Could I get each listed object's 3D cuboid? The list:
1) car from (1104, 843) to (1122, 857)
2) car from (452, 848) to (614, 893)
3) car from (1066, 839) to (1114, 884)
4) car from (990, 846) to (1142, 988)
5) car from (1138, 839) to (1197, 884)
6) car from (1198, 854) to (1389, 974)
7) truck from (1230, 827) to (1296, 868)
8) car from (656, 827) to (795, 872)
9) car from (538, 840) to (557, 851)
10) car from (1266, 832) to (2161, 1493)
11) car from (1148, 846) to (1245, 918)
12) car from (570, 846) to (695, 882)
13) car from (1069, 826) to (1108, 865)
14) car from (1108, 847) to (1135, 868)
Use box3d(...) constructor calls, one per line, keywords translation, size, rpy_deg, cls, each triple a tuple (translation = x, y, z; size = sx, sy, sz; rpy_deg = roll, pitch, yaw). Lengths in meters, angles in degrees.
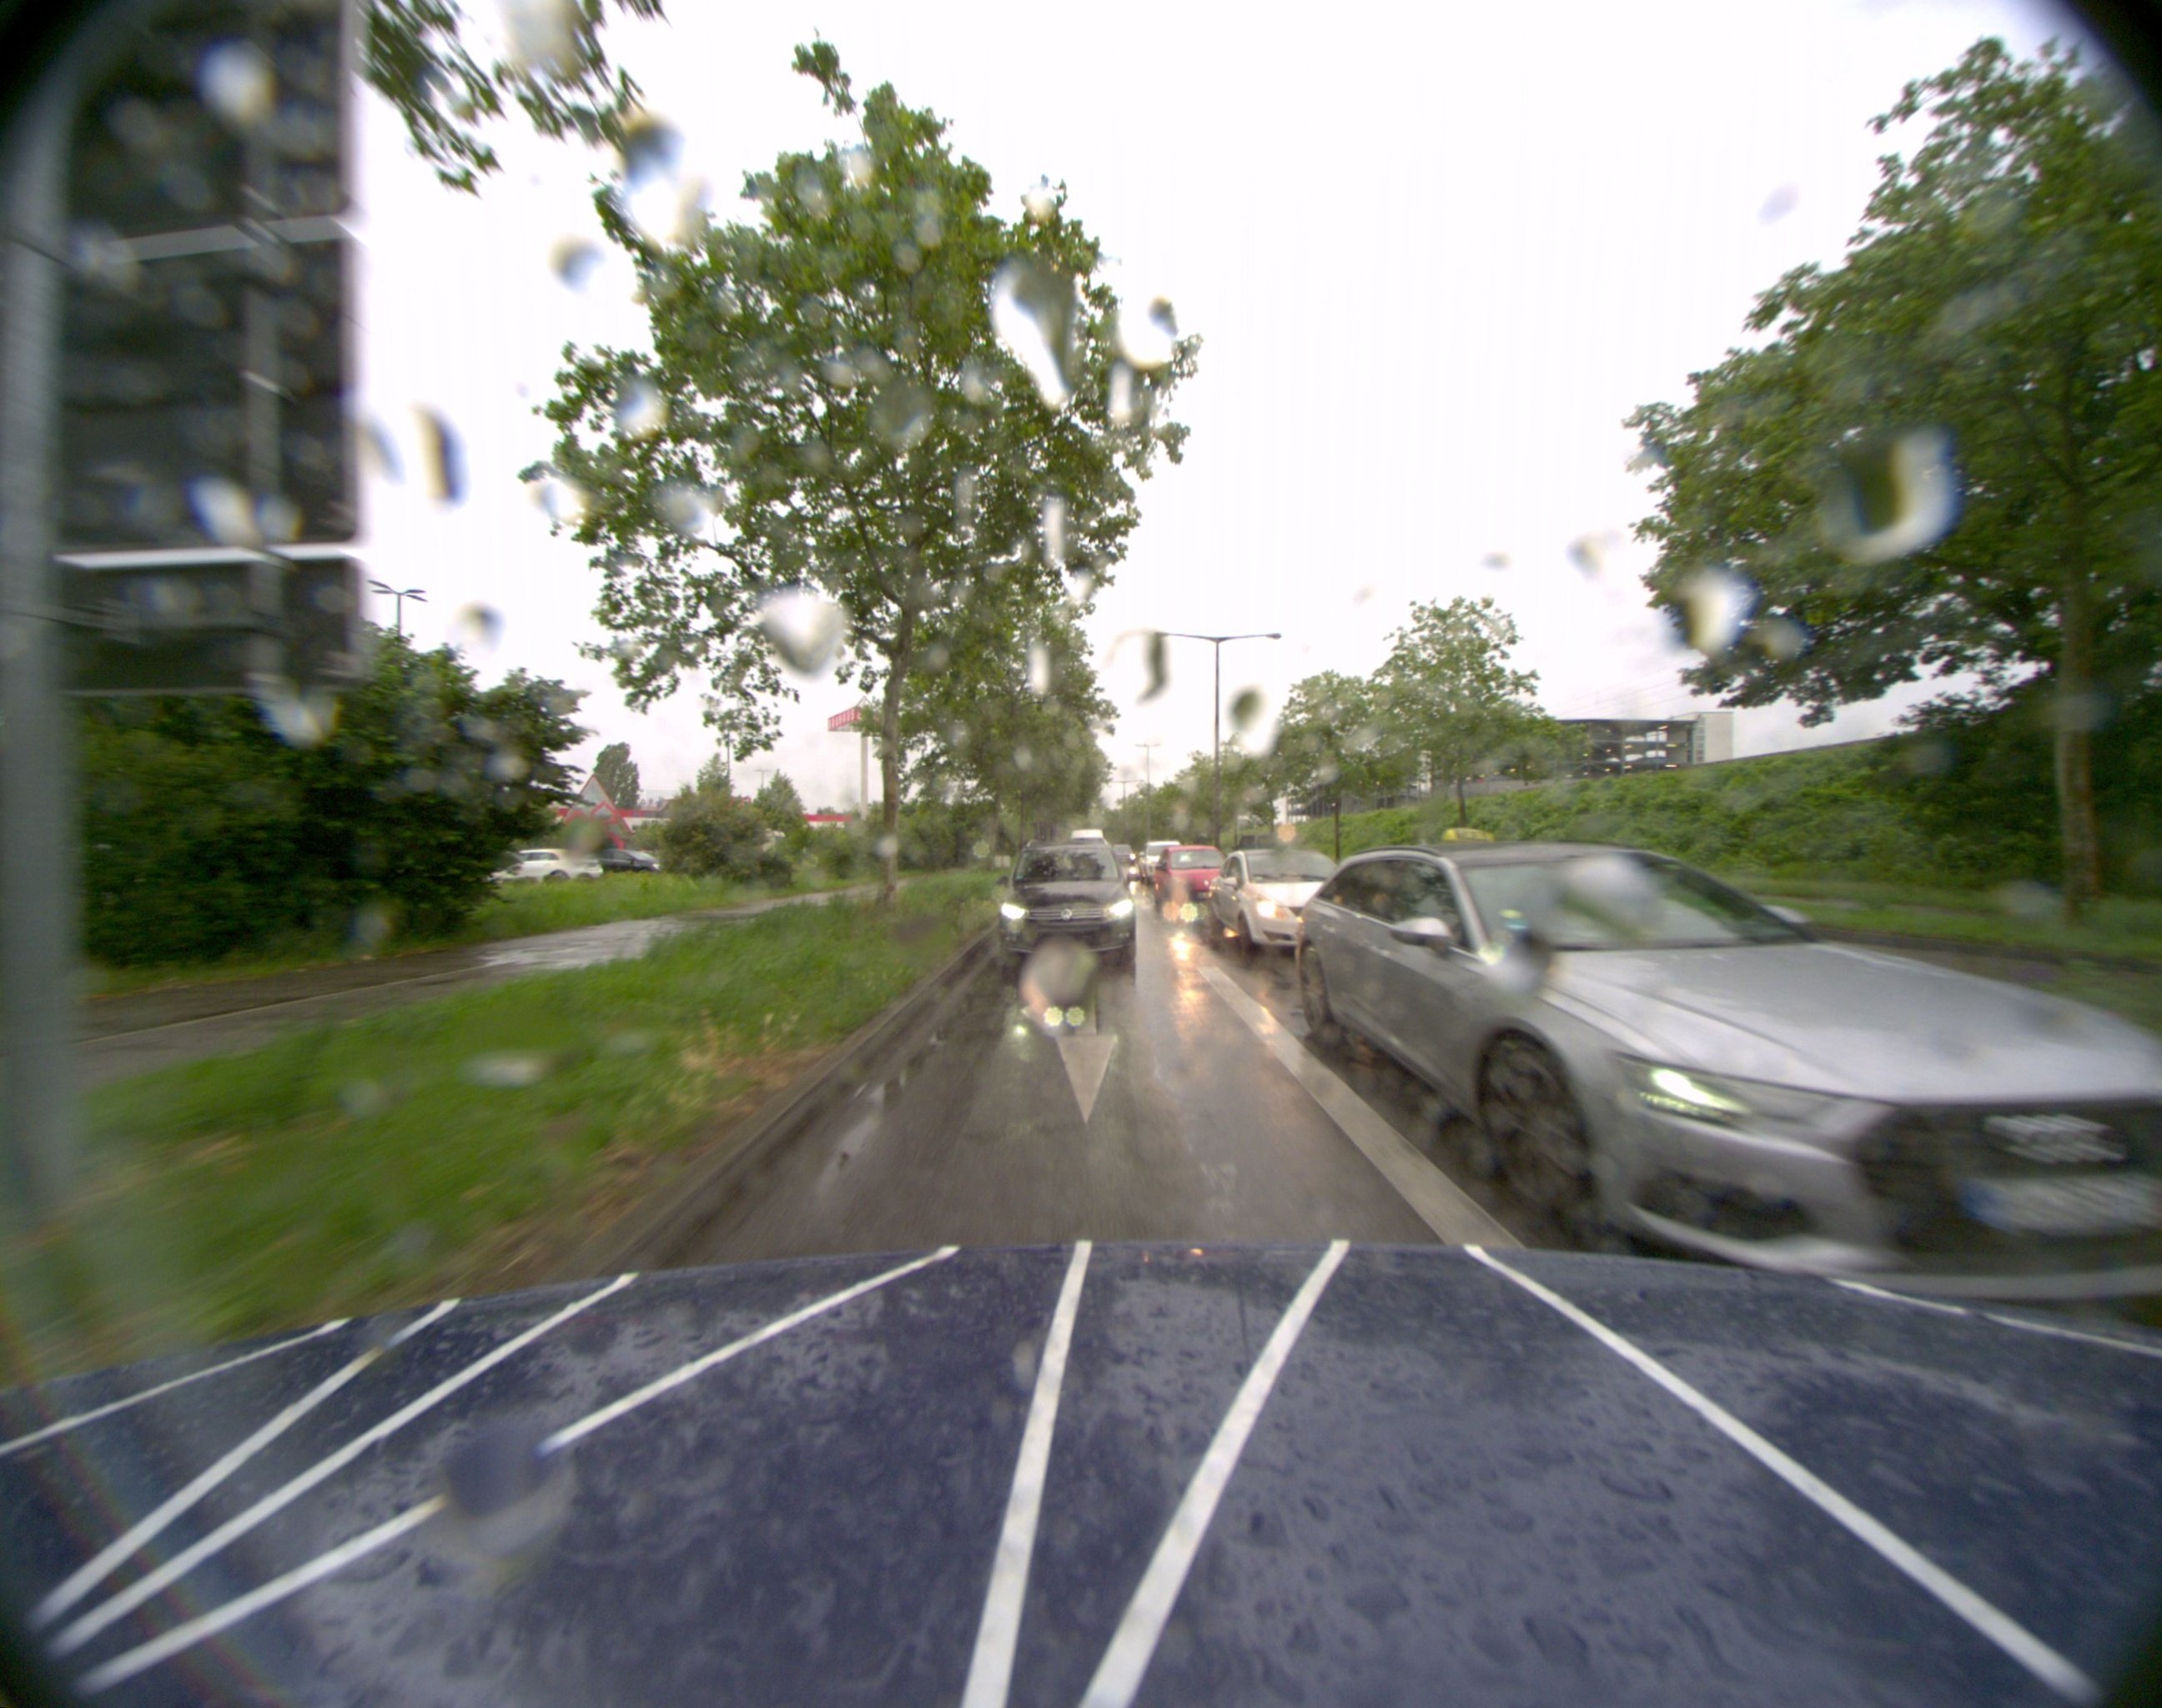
box3d(translation=(3.524, -0.463, 85.384), size=(1.715, 1.494, 3.998), rpy_deg=(-2, 1, -2), cls="car")
box3d(translation=(-19.517, 0.556, 27.228), size=(4.272, 1.544, 1.929), rpy_deg=(0, 1, -4), cls="car")
box3d(translation=(0.354, 0.273, 32.387), size=(1.831, 1.737, 4.146), rpy_deg=(-2, 1, 0), cls="car")
box3d(translation=(-0.217, 0.738, 11.488), size=(1.771, 1.596, 4.625), rpy_deg=(-2, 1, -1), cls="car")
box3d(translation=(3.356, 0.240, 30.299), size=(1.831, 1.603, 4.146), rpy_deg=(-2, 1, 0), cls="car")
box3d(translation=(2.955, 0.750, 11.454), size=(1.683, 1.369, 4.010), rpy_deg=(-2, 1, -1), cls="car")
box3d(translation=(11.179, -0.424, 47.290), size=(2.481, 2.351, 6.866), rpy_deg=(0, 1, 0), cls="truck")
box3d(translation=(-19.324, -0.281, 41.634), size=(6.424, 2.349, 2.390), rpy_deg=(0, 1, -8), cls="car")
box3d(translation=(-81.039, -1.323, 115.467), size=(1.933, 1.716, 4.263), rpy_deg=(-1, 1, -28), cls="car")
box3d(translation=(2.531, 0.724, 4.265), size=(1.774, 1.565, 4.820), rpy_deg=(-2, 1, 0), cls="car")
box3d(translation=(2.654, 0.577, 18.245), size=(1.724, 1.456, 4.092), rpy_deg=(-2, 1, 1), cls="car")
box3d(translation=(-19.620, 0.416, 33.403), size=(4.272, 1.544, 1.929), rpy_deg=(0, 1, -4), cls="car")
box3d(translation=(0.459, -0.523, 43.659), size=(1.998, 2.002, 5.131), rpy_deg=(-2, 2, 1), cls="car")
box3d(translation=(3.143, 0.232, 59.499), size=(1.715, 1.494, 3.998), rpy_deg=(-2, 1, -2), cls="car")
